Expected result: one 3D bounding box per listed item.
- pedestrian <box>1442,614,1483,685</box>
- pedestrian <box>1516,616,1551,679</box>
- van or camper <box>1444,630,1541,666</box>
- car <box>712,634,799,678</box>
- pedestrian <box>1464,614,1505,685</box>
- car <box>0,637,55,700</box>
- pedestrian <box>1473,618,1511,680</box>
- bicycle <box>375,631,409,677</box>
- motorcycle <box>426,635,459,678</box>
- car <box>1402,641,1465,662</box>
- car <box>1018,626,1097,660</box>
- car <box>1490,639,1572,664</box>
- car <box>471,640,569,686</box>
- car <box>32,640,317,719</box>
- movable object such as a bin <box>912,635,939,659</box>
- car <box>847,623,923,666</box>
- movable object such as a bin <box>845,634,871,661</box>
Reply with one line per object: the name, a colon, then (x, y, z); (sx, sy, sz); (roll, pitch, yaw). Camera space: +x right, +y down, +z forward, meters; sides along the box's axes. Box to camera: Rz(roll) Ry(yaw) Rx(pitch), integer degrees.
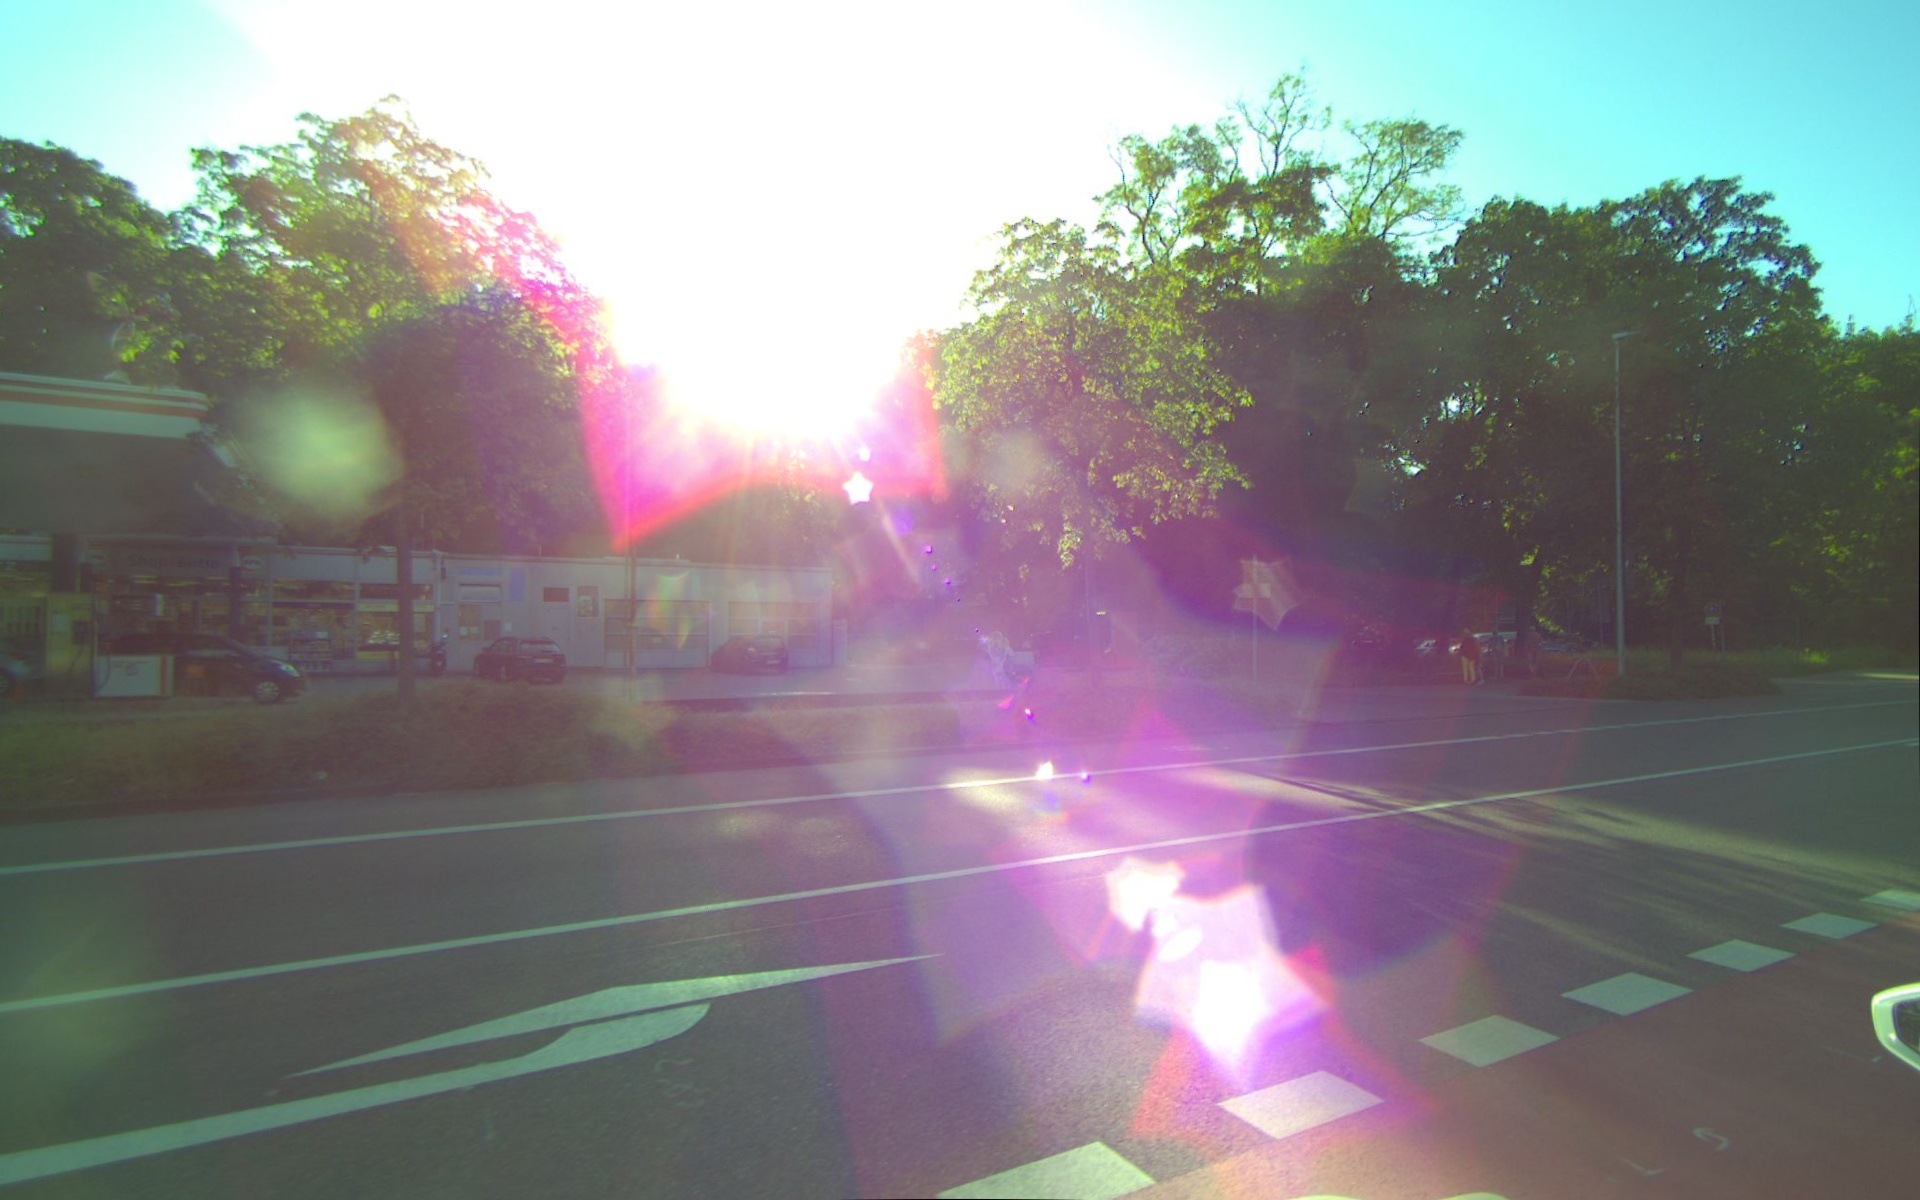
pedestrian: (14.564, 1.427, 29.130); (0.785, 2.040, 0.716); (1, -2, -19)
pedestrian: (18.767, 1.543, 32.890); (0.732, 2.040, 0.719); (0, -2, 1)
van or camper: (35.518, 3.176, 67.089); (5.313, 2.040, 2.000); (3, -1, -1)
car: (-7.803, 2.088, 38.116); (1.880, 1.576, 3.962); (1, -2, -34)
pedestrian: (15.340, 1.453, 29.389); (0.785, 2.040, 0.716); (1, -2, -19)
car: (-22.801, 1.505, 22.076); (4.014, 1.394, 1.702); (1, -2, -32)
pedestrian: (17.553, 1.605, 33.158); (0.857, 2.040, 0.719); (0, -2, 1)
bicycle: (-18.730, 1.760, 33.152); (0.916, 1.496, 1.829); (1, -2, -29)
motorcycle: (-17.088, 1.842, 33.150); (0.916, 1.381, 1.829); (1, -2, -29)
car: (35.060, 3.797, 74.385); (3.923, 1.486, 1.673); (0, -2, -3)
car: (5.342, 2.374, 55.471); (4.187, 1.844, 2.000); (0, -2, -1)
car: (35.355, 3.186, 62.243); (3.919, 1.546, 2.001); (0, -2, 4)
car: (-13.954, 1.953, 31.812); (1.705, 1.371, 3.586); (2, -3, -44)
car: (-16.297, 1.599, 21.192); (4.525, 1.518, 1.702); (1, -2, -31)
movable object such as a bin: (-2.075, 2.838, 60.625); (1.200, 1.386, 1.297); (1, 0, -22)
car: (-3.717, 2.149, 49.169); (1.980, 2.007, 3.961); (1, -2, -35)
movable object such as a bin: (-6.074, 2.813, 59.724); (1.200, 1.547, 1.297); (1, 0, -22)
